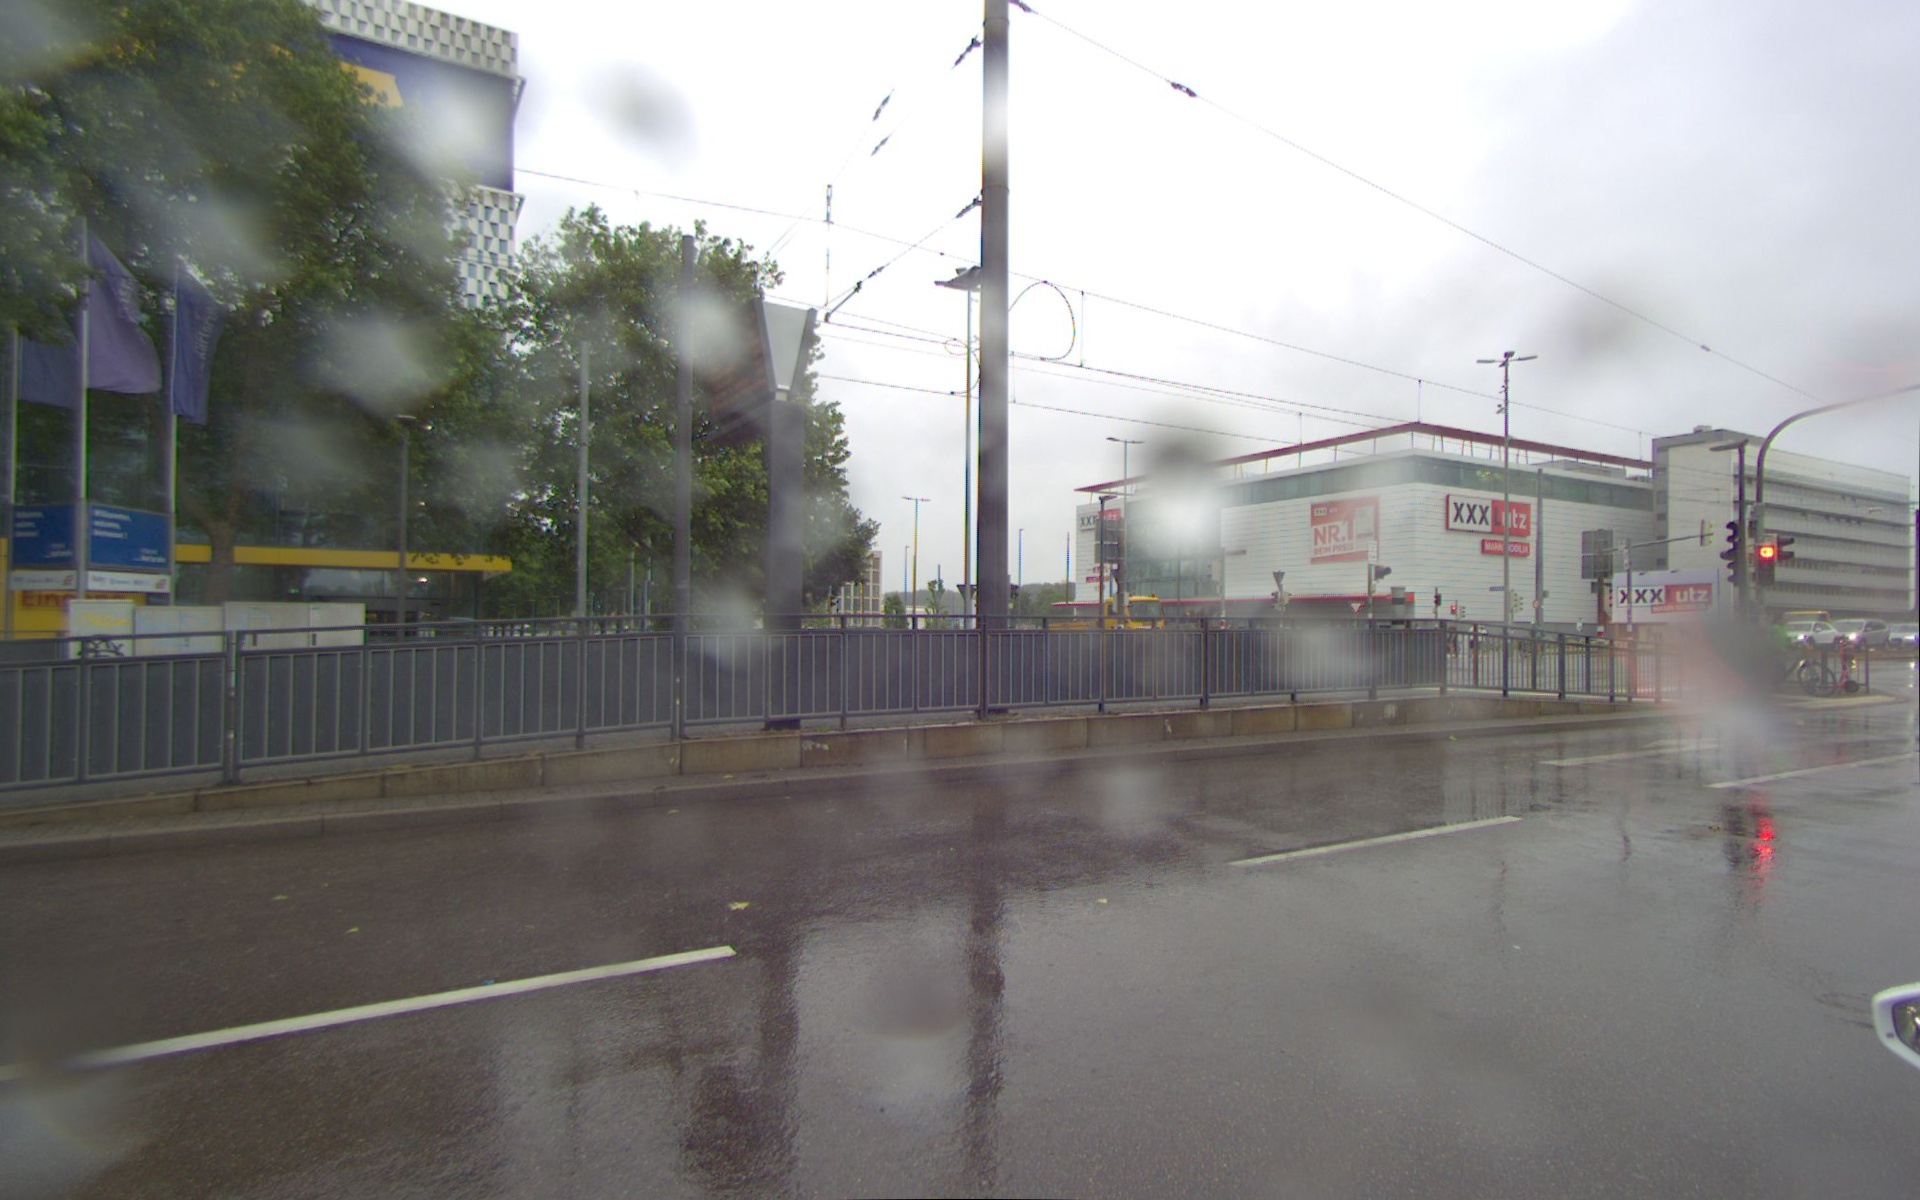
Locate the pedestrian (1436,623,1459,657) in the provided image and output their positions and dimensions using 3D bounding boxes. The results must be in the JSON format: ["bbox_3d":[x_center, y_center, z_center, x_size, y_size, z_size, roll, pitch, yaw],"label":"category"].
[{"bbox_3d":[24.280,1.983,50.018,0.914,1.654,0.694,2,0,-42],"label":"pedestrian"}]

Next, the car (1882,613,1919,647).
[{"bbox_3d":[51.388,1.635,53.609,3.947,1.722,1.886,2,0,-26],"label":"car"}]

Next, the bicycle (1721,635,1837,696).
[{"bbox_3d":[16.668,1.315,20.494,0.409,1.048,1.742,2,3,-31],"label":"bicycle"}]

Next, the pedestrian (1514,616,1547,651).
[{"bbox_3d":[27.457,1.615,48.312,0.996,1.654,0.917,2,0,-19],"label":"pedestrian"}]

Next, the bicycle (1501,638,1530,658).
[{"bbox_3d":[28.296,2.464,51.151,1.688,1.000,0.448,2,0,-30],"label":"bicycle"}]

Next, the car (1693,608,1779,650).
[{"bbox_3d":[40.410,1.523,52.297,3.947,2.040,1.987,2,0,-26],"label":"car"}]

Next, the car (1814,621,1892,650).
[{"bbox_3d":[44.791,1.784,50.380,3.780,1.354,1.582,2,0,-26],"label":"car"}]

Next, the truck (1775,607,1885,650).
[{"bbox_3d":[49.683,1.650,57.323,7.542,2.309,2.341,2,0,-30],"label":"truck"}]

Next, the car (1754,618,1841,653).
[{"bbox_3d":[39.733,1.686,47.669,3.823,1.512,1.693,2,0,-25],"label":"car"}]

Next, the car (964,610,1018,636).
[{"bbox_3d":[2.185,1.605,70.214,3.723,1.645,2.001,2,0,2],"label":"car"}]

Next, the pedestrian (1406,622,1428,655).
[{"bbox_3d":[23.320,1.942,51.243,0.914,1.654,0.694,2,0,-42],"label":"pedestrian"}]

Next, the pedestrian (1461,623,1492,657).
[{"bbox_3d":[25.831,1.999,50.238,1.063,1.654,1.027,2,0,11],"label":"pedestrian"}]

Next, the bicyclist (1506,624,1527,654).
[{"bbox_3d":[28.334,1.990,51.162,0.639,1.483,0.681,2,0,-29],"label":"bicyclist"}]

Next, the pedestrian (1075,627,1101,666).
[{"bbox_3d":[5.218,1.886,40.987,0.863,1.557,0.560,2,0,-31],"label":"pedestrian"}]

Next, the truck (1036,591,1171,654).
[{"bbox_3d":[6.838,1.030,48.945,2.612,2.853,7.084,2,0,-31],"label":"truck"}]
